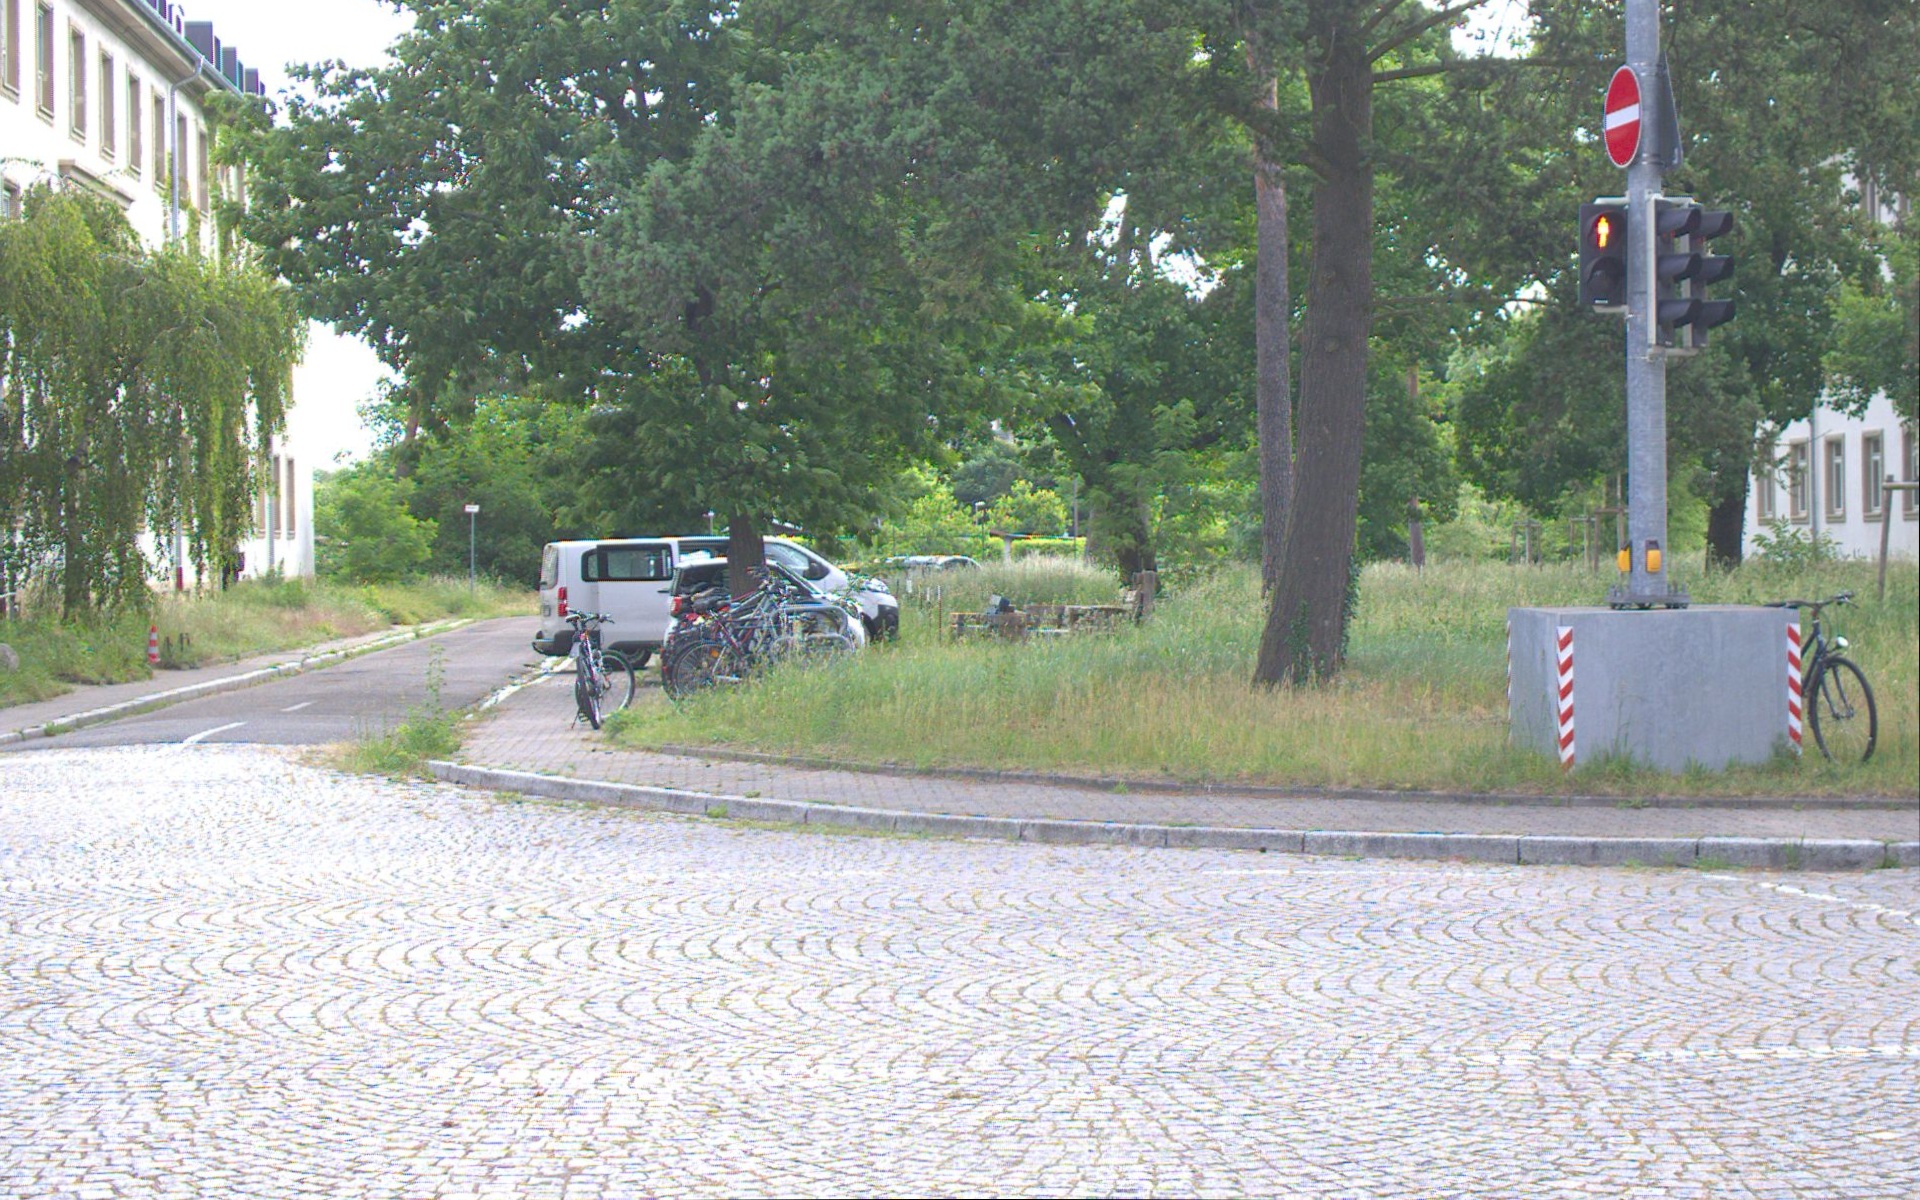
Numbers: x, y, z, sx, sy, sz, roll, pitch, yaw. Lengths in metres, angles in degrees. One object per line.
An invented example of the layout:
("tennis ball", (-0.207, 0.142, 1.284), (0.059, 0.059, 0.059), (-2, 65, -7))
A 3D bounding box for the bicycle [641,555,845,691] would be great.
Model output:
("bicycle", (-2.230, 0.231, 35.436), (2.069, 1.373, 0.620), (-1, 1, -3))

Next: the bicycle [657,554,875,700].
("bicycle", (-1.867, 0.251, 33.231), (2.069, 1.373, 0.620), (-1, 1, -3))

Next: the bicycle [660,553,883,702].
("bicycle", (-1.781, 0.256, 32.564), (2.069, 1.373, 0.620), (-1, 1, -3))

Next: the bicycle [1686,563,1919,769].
("bicycle", (5.076, 0.367, 20.634), (0.908, 1.173, 1.874), (-1, 1, -4))

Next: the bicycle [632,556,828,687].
("bicycle", (-2.462, 0.220, 36.911), (2.069, 1.373, 0.620), (-1, 1, -3))

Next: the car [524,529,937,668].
("car", (-3.382, -0.046, 50.396), (5.690, 1.904, 2.231), (-1, 1, -15))

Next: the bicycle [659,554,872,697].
("bicycle", (-1.911, 0.247, 33.855), (2.069, 1.373, 0.620), (-1, 1, -3))

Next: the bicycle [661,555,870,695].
("bicycle", (-1.953, 0.242, 34.651), (2.069, 1.373, 0.620), (-1, 1, -3))

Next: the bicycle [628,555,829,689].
("bicycle", (-2.429, 0.224, 36.165), (2.069, 1.373, 0.620), (-1, 1, -3))

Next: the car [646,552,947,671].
("car", (-2.274, 0.135, 47.081), (3.931, 1.539, 2.000), (-1, 1, -8))

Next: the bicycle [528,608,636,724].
("bicycle", (-3.359, 0.570, 30.686), (0.618, 0.960, 2.076), (-1, 1, 3))
